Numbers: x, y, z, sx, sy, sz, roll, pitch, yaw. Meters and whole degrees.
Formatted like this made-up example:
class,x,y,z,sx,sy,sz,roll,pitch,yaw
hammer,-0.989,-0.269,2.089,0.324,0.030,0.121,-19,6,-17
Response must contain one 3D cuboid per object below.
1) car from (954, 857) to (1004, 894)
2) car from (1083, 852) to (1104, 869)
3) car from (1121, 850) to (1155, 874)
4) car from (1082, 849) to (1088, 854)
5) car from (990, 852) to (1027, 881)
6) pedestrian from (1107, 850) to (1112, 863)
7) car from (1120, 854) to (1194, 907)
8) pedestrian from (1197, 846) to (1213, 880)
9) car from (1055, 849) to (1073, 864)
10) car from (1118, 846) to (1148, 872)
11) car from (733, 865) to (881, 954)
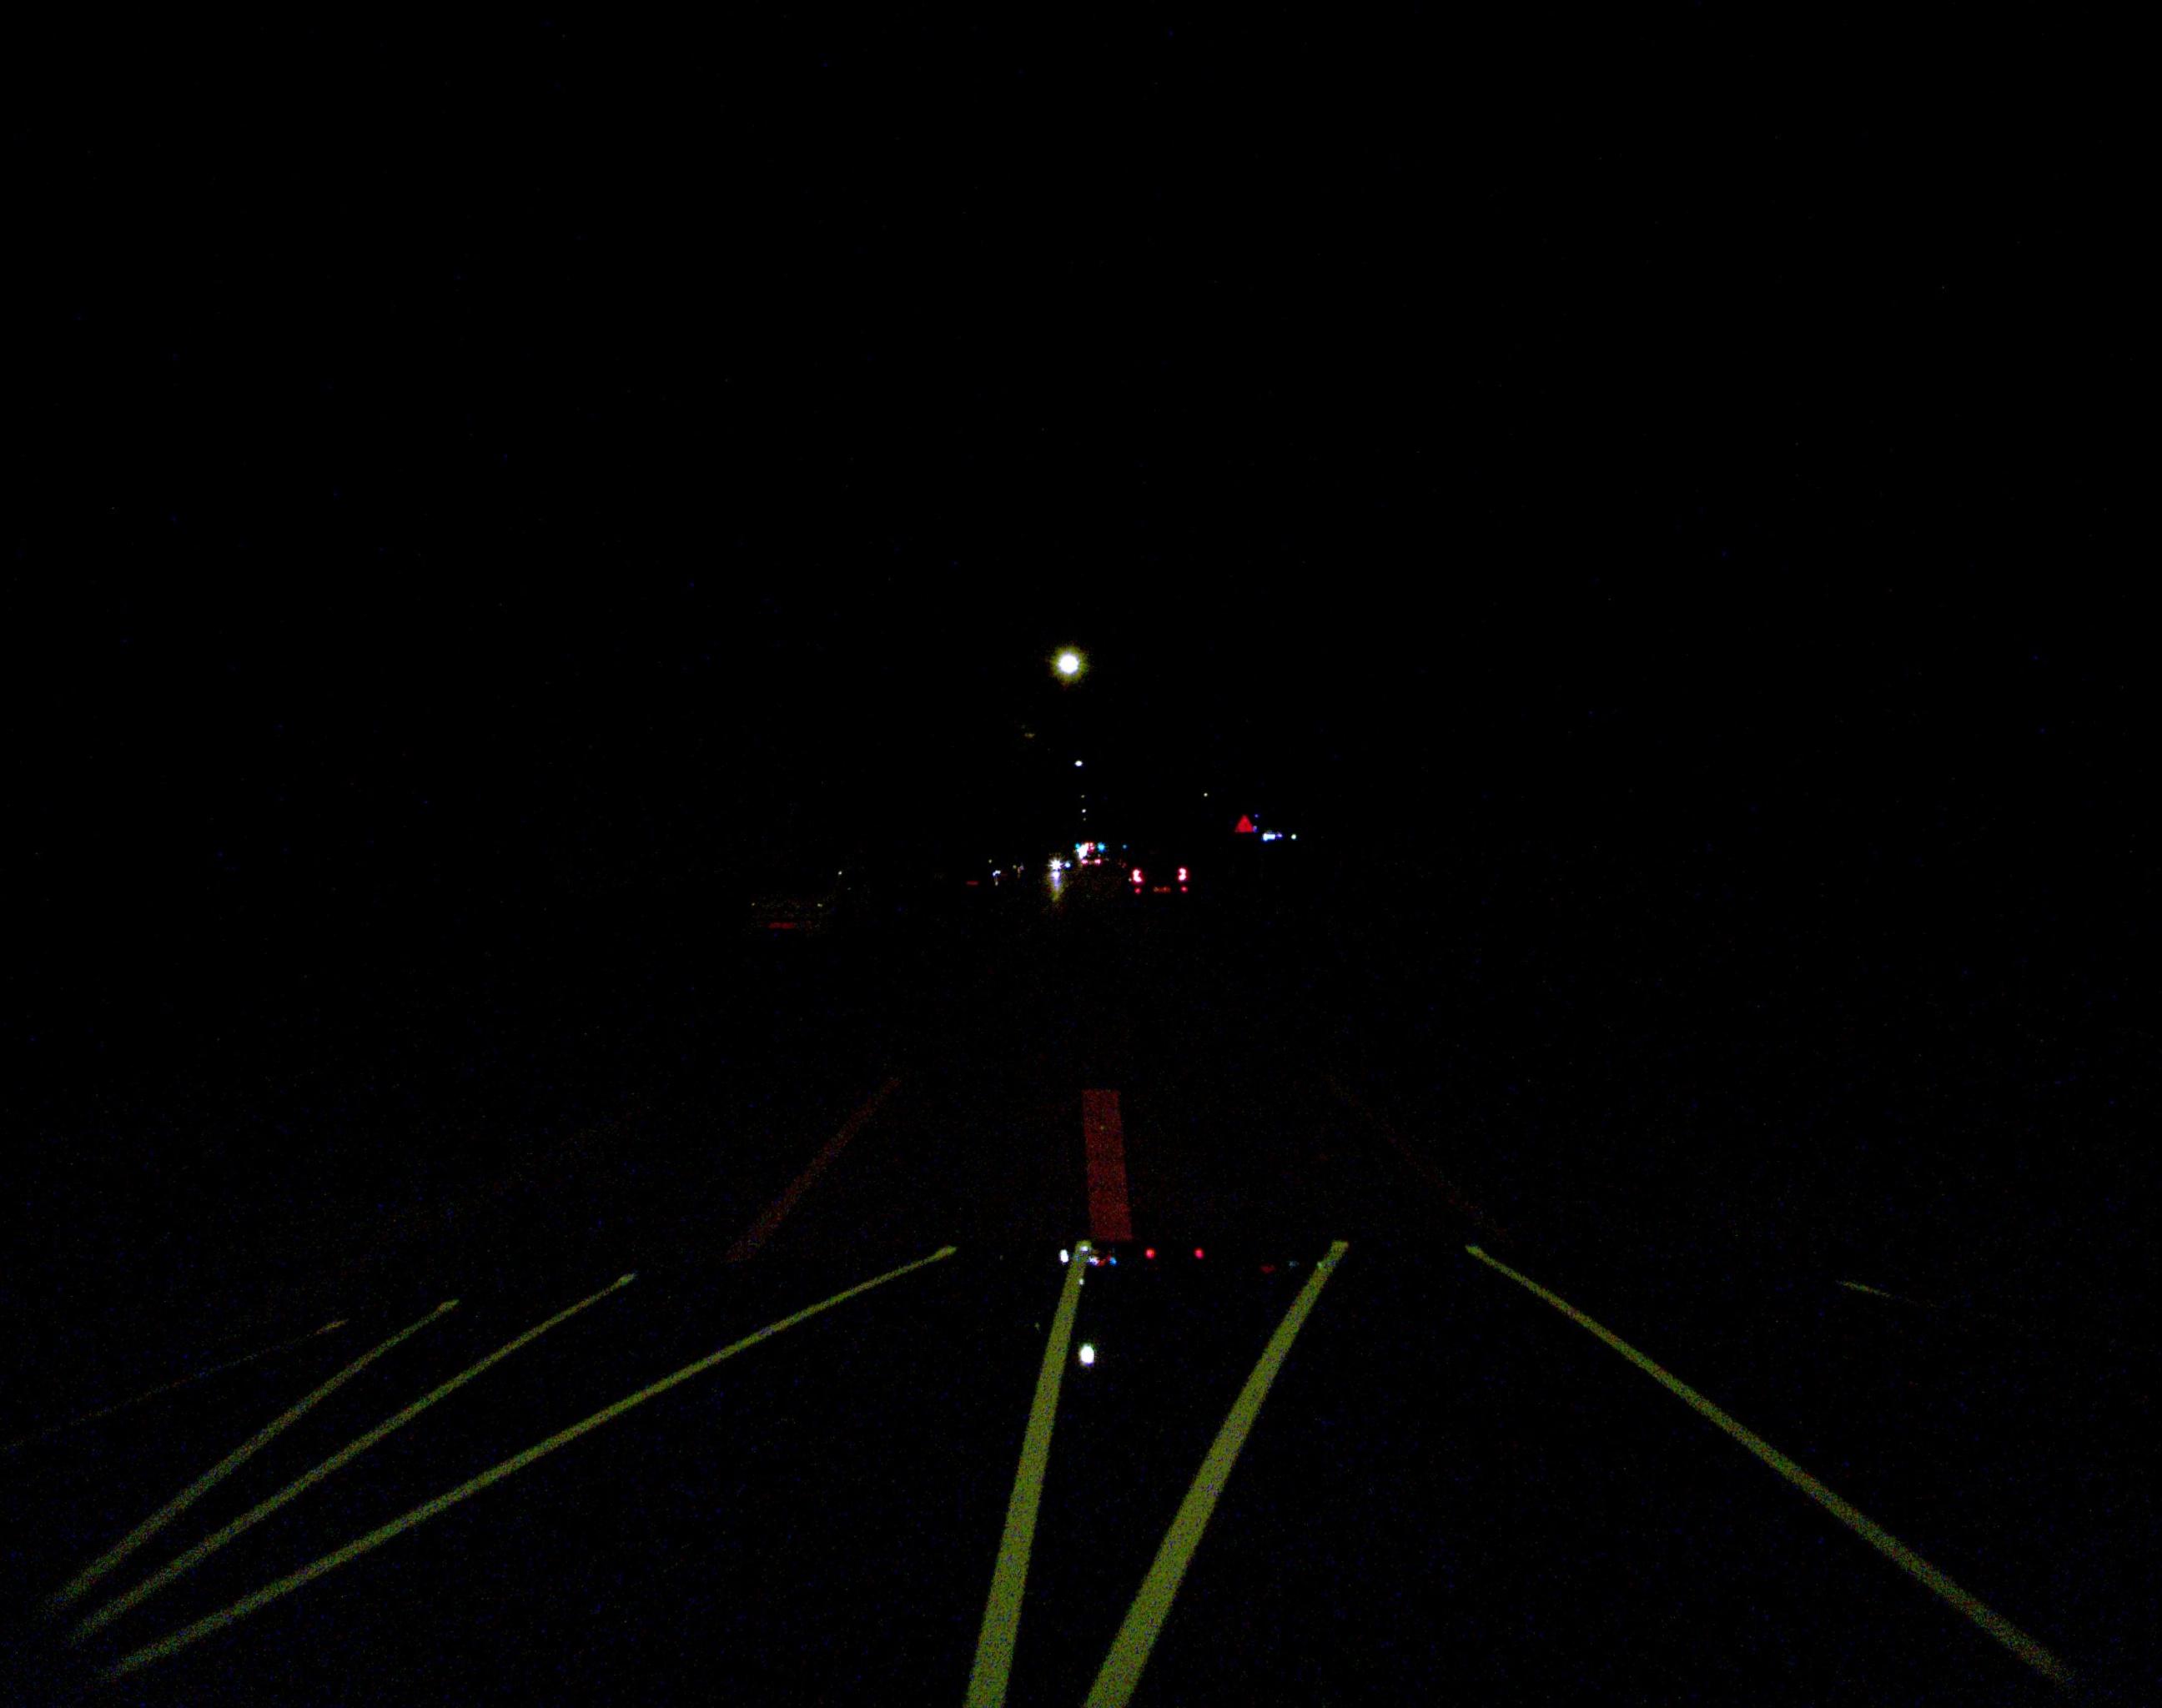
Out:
class,x,y,z,sx,sy,sz,roll,pitch,yaw
car,-4.475,0.900,33.935,1.742,1.489,3.890,-1,0,-1
car,1.323,0.597,77.232,1.903,1.581,3.661,-2,1,4
car,3.884,0.507,52.069,1.998,1.477,3.999,-3,1,1
car,1.285,-0.929,259.819,1.998,1.740,3.999,-2,1,1
car,-4.466,0.745,47.467,1.852,1.643,4.179,-2,0,0
pedestrian,4.419,0.407,118.140,0.804,2.002,0.940,-2,1,1
car,2.232,0.821,23.208,1.755,1.433,3.487,-2,-2,-2
pedestrian,6.523,0.459,39.964,0.673,1.750,0.500,-2,1,1
car,-1.730,0.231,78.029,1.780,1.477,3.999,-2,1,-1
car,3.860,0.336,56.952,1.998,1.772,3.999,-2,1,1
car,-5.260,1.004,15.054,1.611,1.500,3.486,0,0,1
